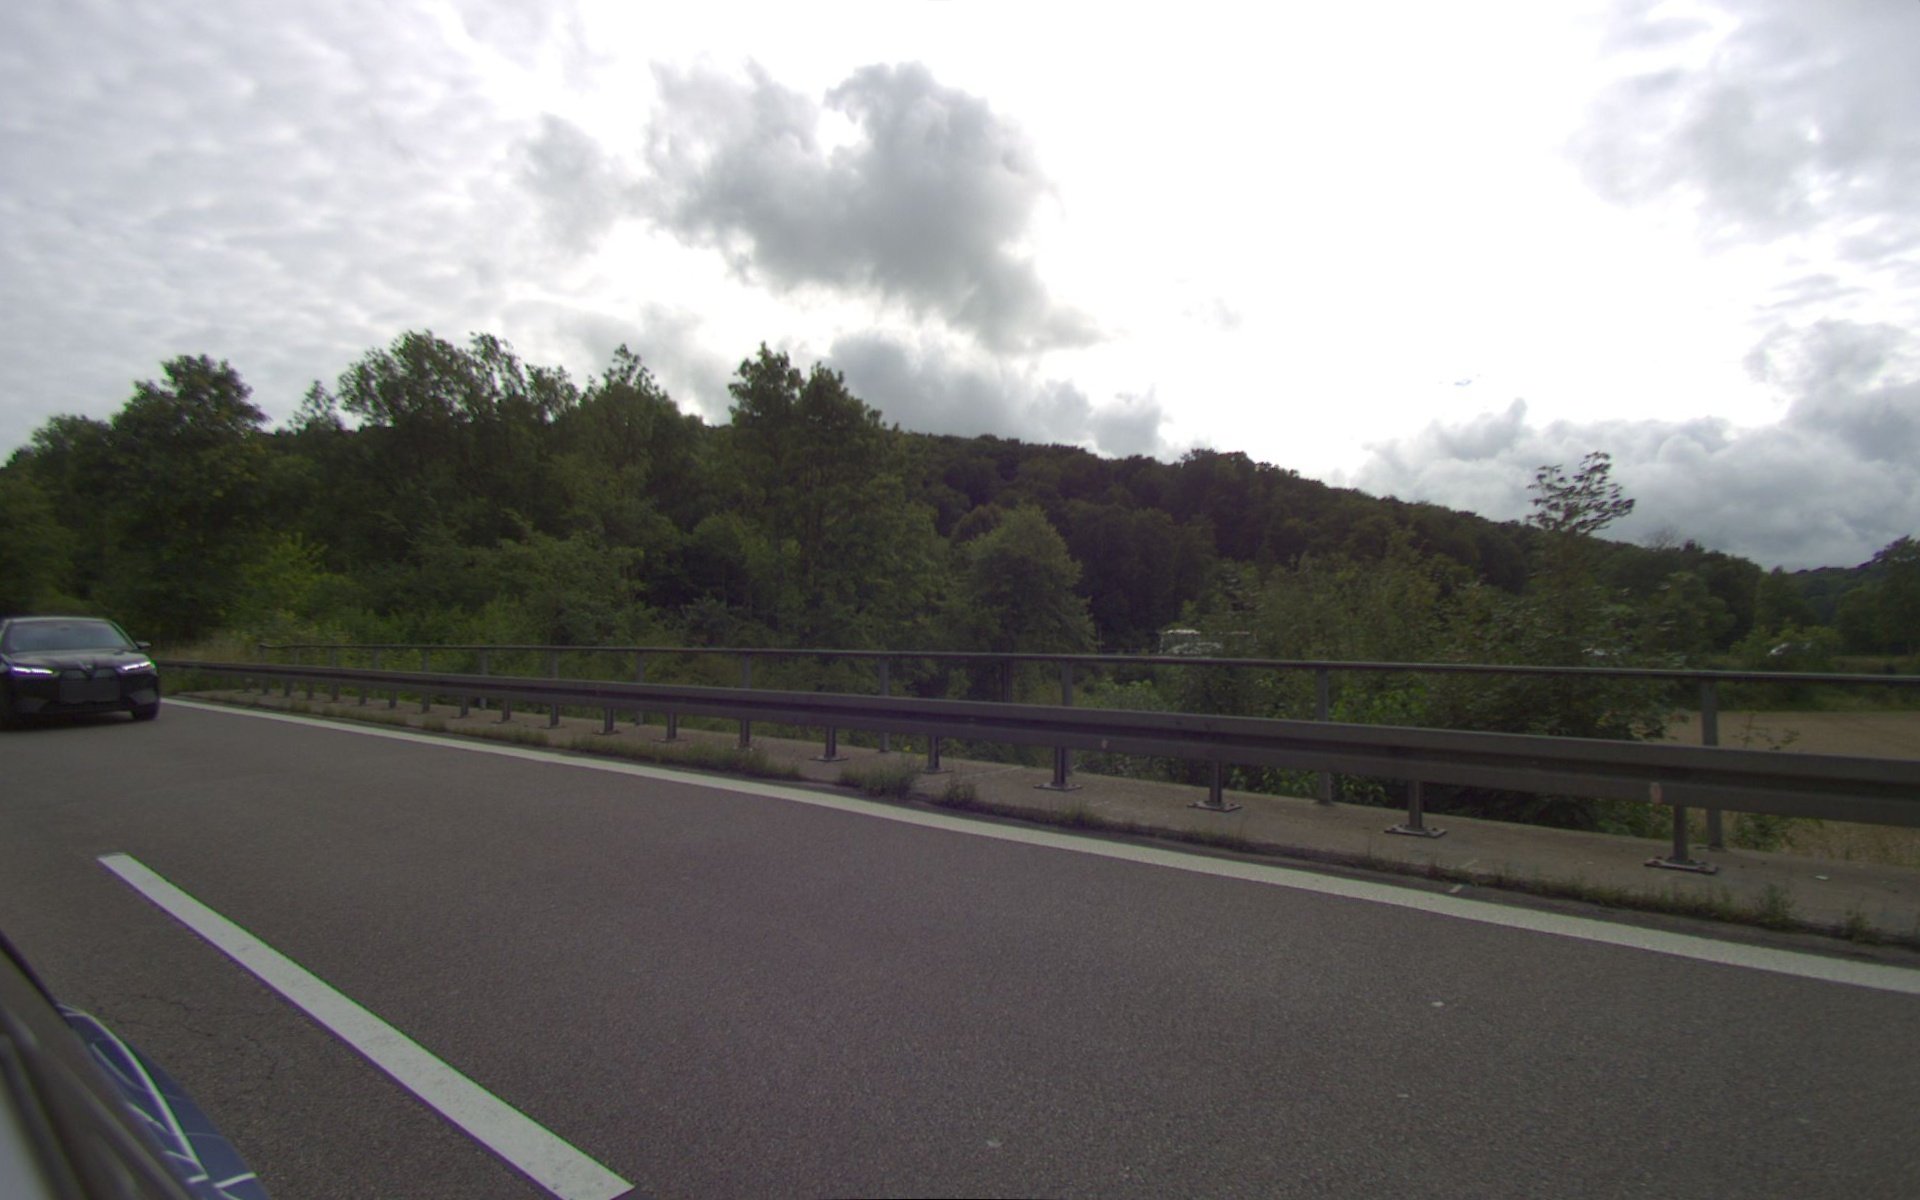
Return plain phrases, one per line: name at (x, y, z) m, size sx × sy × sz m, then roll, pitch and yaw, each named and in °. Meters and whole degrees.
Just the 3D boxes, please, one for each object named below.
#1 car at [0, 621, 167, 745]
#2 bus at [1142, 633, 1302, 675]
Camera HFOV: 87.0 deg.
car at (-14.636, 1.234, 16.342) m, size 4.411 × 1.678 × 1.974 m, roll -2°, pitch 0°, yaw 40°
bus at (31.759, 6.604, 123.637) m, size 18.067 × 4.977 × 5.576 m, roll 0°, pitch -3°, yaw 3°
